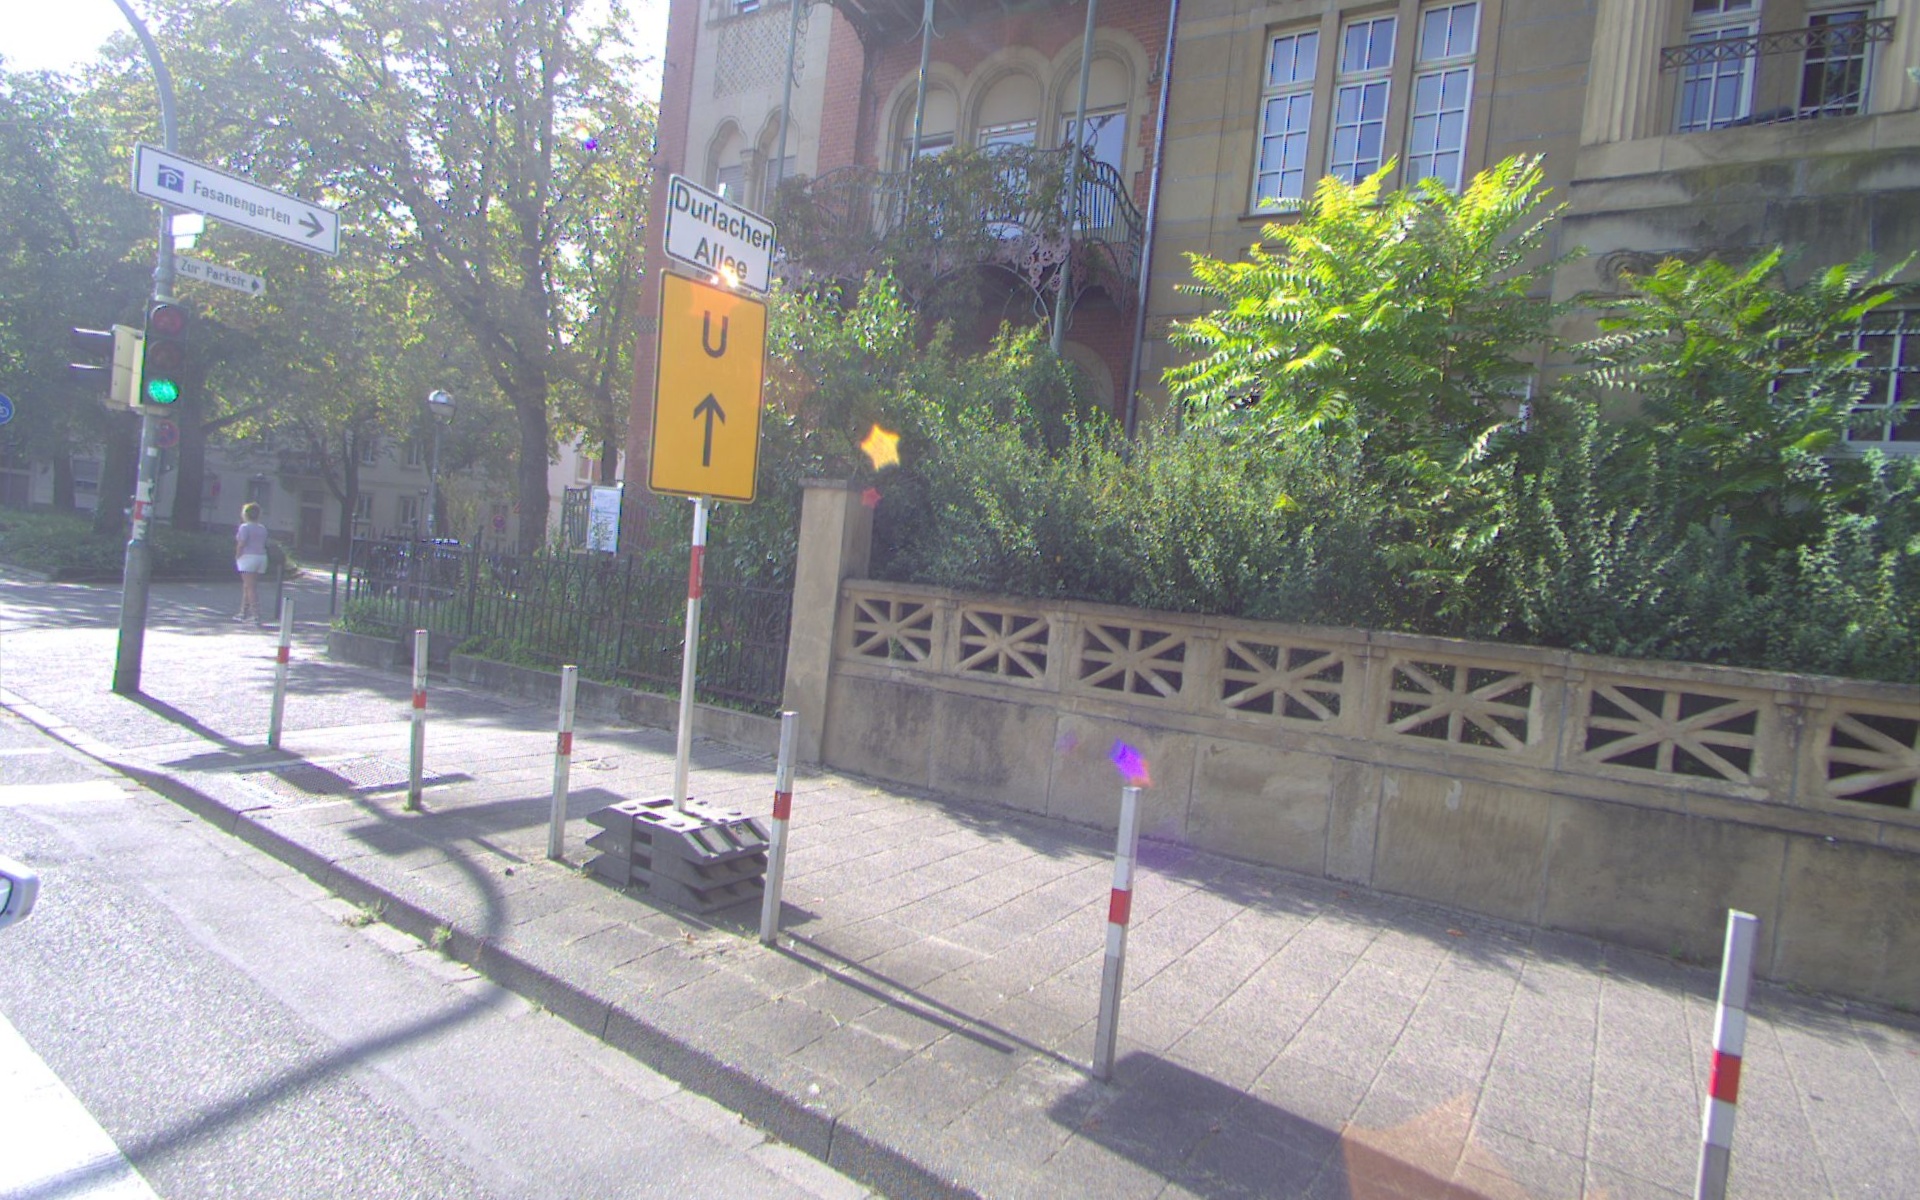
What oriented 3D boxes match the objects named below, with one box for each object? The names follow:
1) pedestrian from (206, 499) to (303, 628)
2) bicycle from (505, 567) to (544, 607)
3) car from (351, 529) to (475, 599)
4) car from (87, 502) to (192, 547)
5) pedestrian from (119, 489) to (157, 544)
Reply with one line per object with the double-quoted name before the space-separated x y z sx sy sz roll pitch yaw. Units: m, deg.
"pedestrian" -10.211 -0.519 14.569 0.757 1.753 0.752 6 1 22
"bicycle" -11.488 -0.354 26.576 0.418 0.990 1.767 6 0 -8
"car" -14.599 -0.946 27.101 1.585 1.534 4.218 7 1 -11
"car" -35.868 -3.296 43.988 4.070 1.447 1.757 6 1 22
"pedestrian" -28.517 -2.893 34.902 0.887 1.762 0.767 5 1 -40
